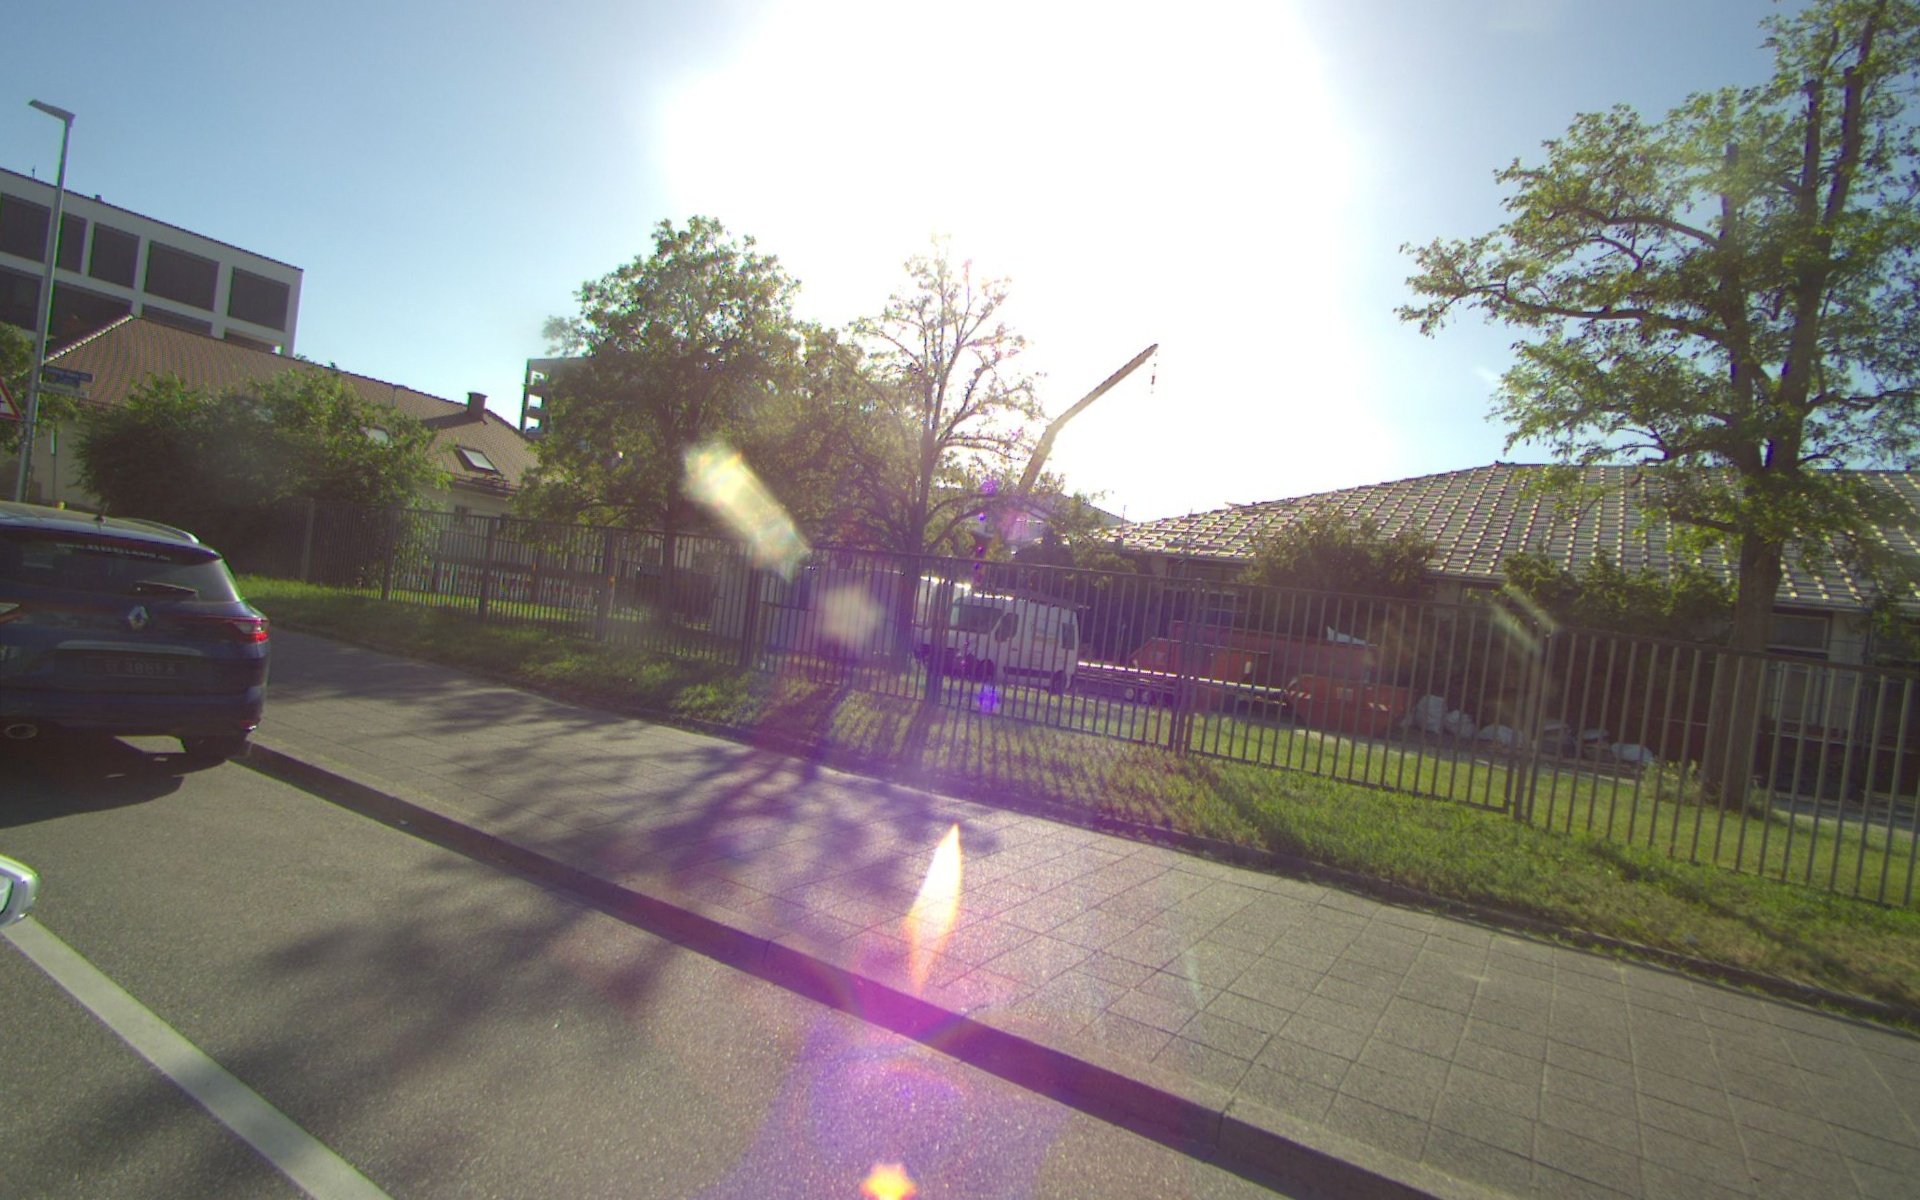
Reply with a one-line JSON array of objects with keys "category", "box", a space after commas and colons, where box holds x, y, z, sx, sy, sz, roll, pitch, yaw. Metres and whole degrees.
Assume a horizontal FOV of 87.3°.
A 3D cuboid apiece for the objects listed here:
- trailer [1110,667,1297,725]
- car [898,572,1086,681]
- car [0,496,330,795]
[{"category": "trailer", "box": [7.112, 2.821, 29.742, 5.037, 0.930, 1.896, 7, -1, 41]}, {"category": "car", "box": [0.984, 0.779, 26.349, 1.970, 2.228, 5.284, 8, 0, 38]}, {"category": "car", "box": [-6.156, 0.081, 6.523, 4.145, 1.469, 1.821, 7, -2, 33]}]
